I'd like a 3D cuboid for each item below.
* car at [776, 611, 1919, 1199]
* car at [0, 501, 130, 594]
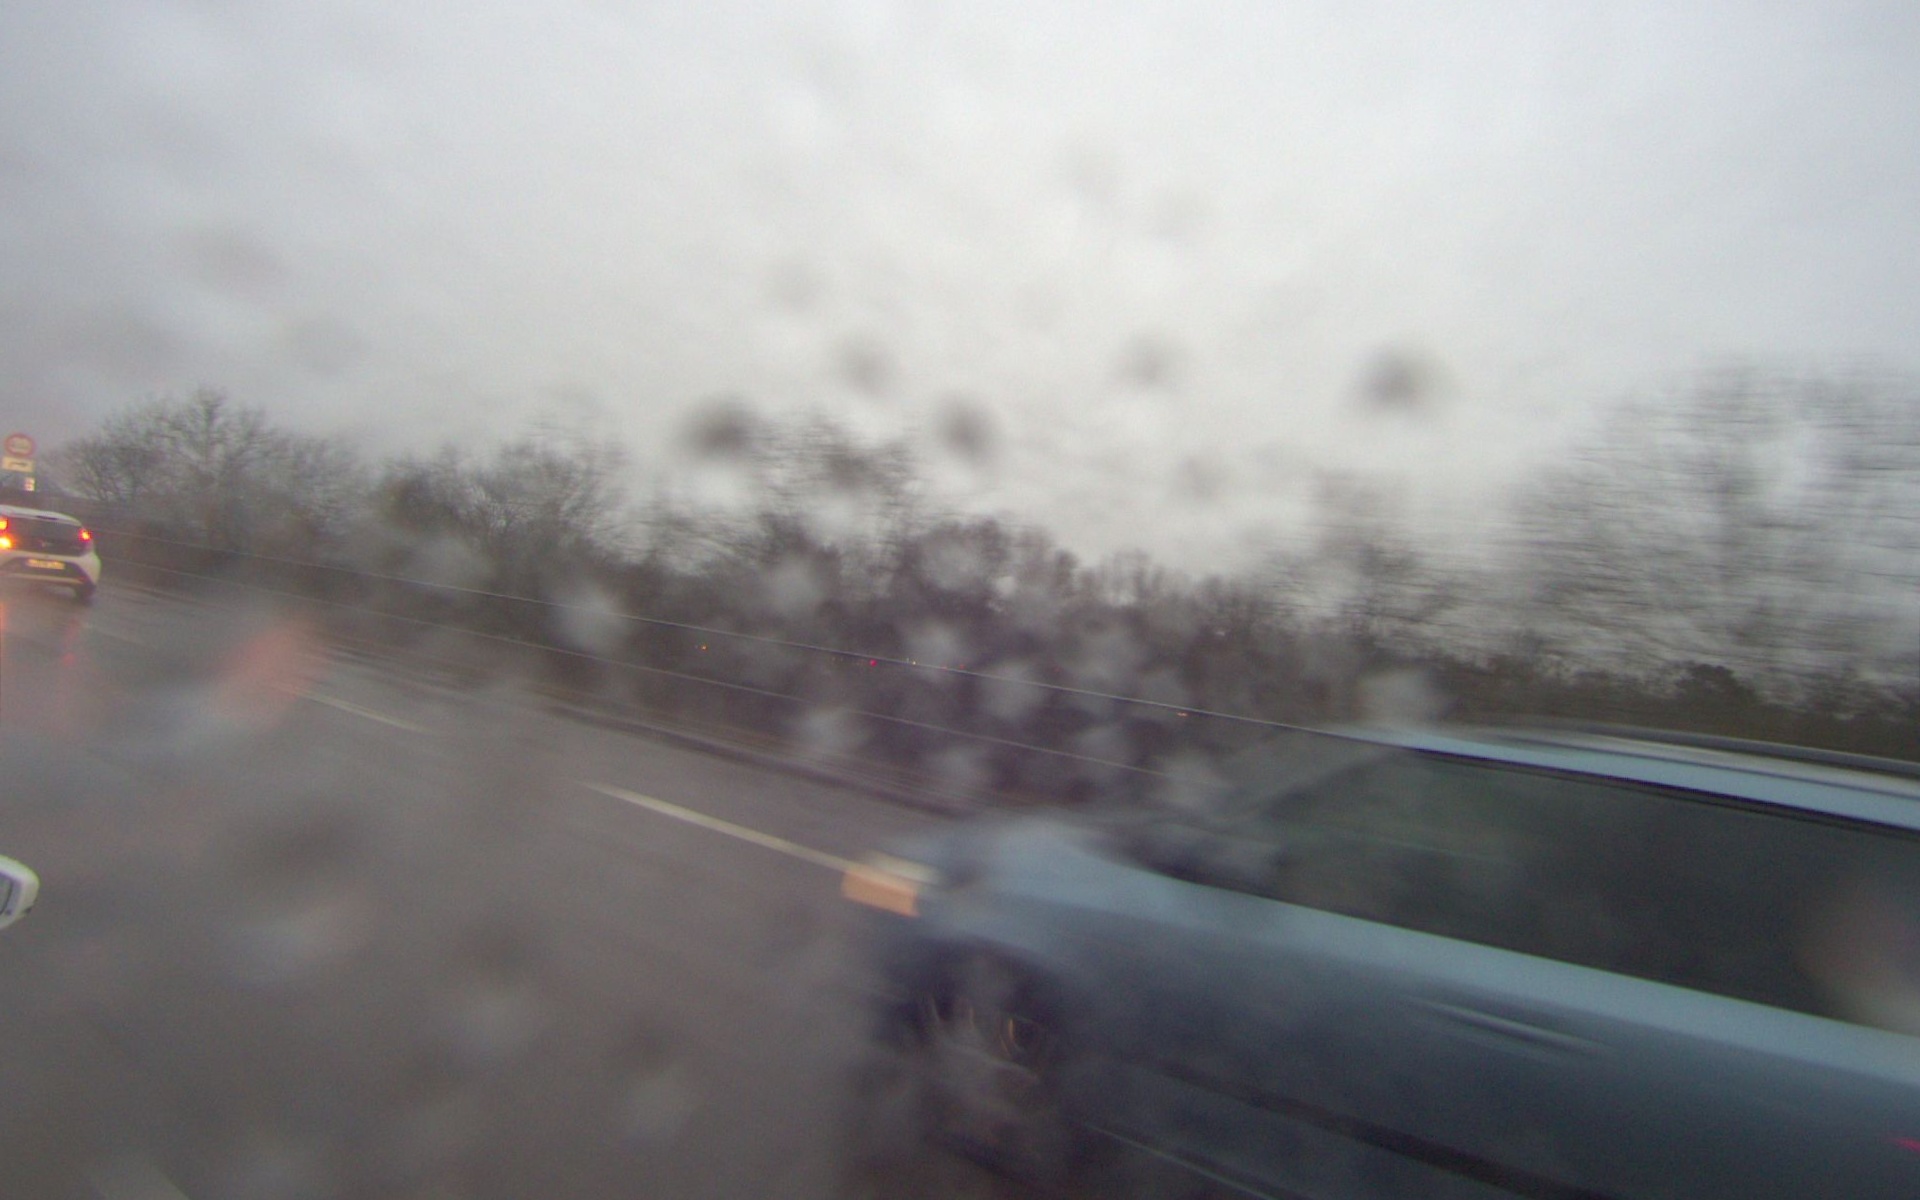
[{"bbox_3d":[1.729,1.071,2.954,4.069,1.518,1.996,7,-1,32],"label":"car"},{"bbox_3d":[-17.420,-1.078,18.579,3.934,1.361,1.997,7,-1,32],"label":"car"}]
